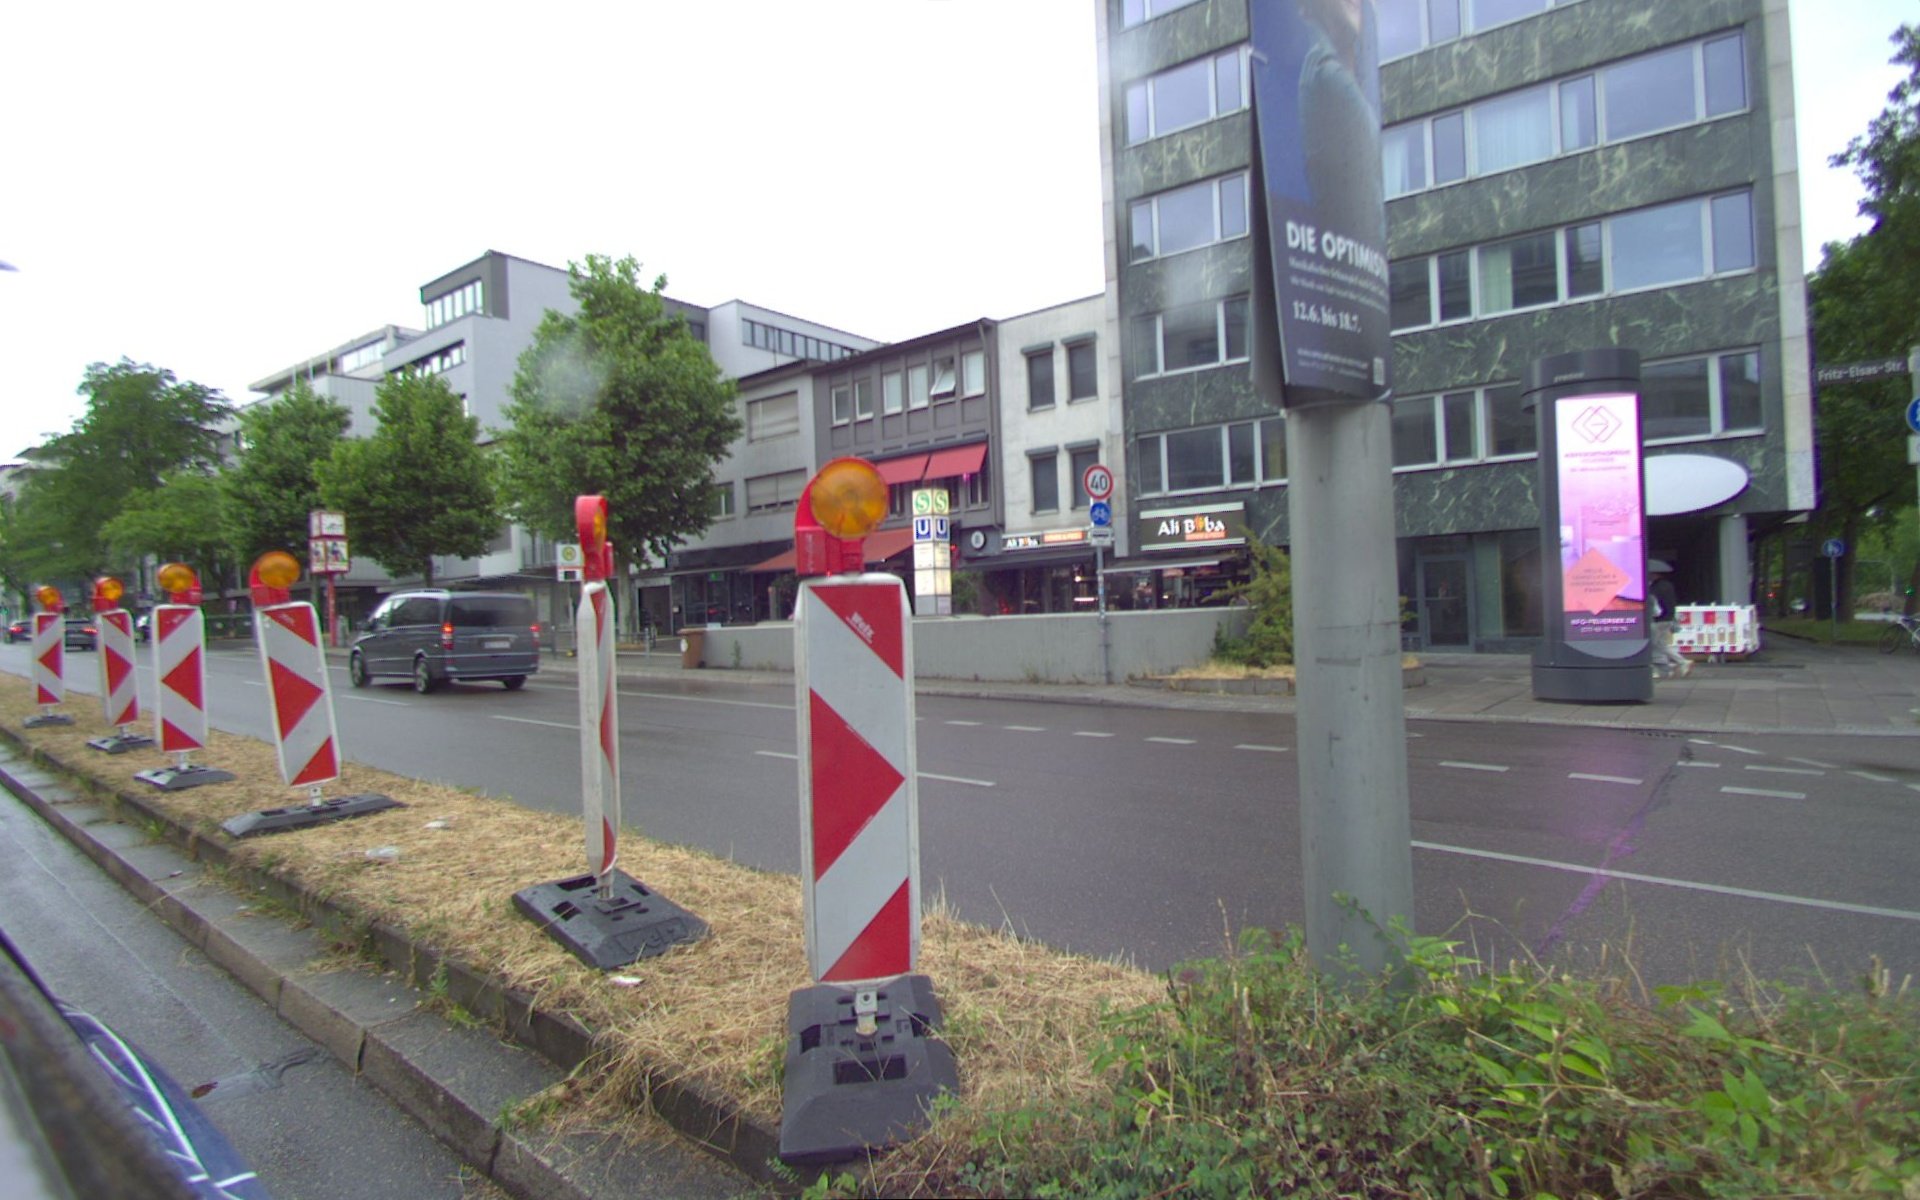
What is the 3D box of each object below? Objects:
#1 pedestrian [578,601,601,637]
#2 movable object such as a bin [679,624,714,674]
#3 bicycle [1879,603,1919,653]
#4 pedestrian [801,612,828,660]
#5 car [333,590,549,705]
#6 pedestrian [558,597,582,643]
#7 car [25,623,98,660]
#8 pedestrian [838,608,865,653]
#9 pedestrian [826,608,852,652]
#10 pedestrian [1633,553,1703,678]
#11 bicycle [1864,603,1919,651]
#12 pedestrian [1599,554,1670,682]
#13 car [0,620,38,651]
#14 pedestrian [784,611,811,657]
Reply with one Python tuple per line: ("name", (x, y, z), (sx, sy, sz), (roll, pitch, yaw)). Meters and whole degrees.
("pedestrian", (-16.886, 0.857, 46.090), (0.764, 1.577, 0.768), (-1, 0, -41))
("movable object such as a bin", (-6.108, 1.125, 23.451), (0.660, 1.109, 0.501), (-1, 0, 39))
("bicycle", (20.761, 0.595, 21.481), (1.780, 1.060, 0.579), (-1, -1, 37))
("pedestrian", (-4.832, 1.191, 33.584), (0.611, 1.540, 0.660), (-2, -1, 44))
("car", (-10.296, 0.796, 19.906), (4.960, 1.941, 1.974), (1, 1, 39))
("pedestrian", (-17.408, 0.897, 45.188), (0.764, 2.029, 0.768), (-1, 0, -41))
("car", (-39.804, 1.829, 44.792), (4.285, 1.522, 1.671), (-2, -1, 38))
("pedestrian", (-3.761, 1.037, 35.017), (0.611, 1.540, 0.660), (-2, -1, 44))
("pedestrian", (-4.243, 1.043, 35.590), (0.611, 1.540, 0.660), (-2, -1, 44))
("pedestrian", (11.777, 0.258, 16.845), (0.588, 2.029, 0.730), (0, -1, -29))
("bicycle", (21.256, 0.590, 22.389), (1.780, 1.060, 0.579), (-1, -1, 37))
("pedestrian", (10.940, 0.291, 16.434), (0.588, 2.029, 0.730), (0, -1, -29))
("car", (-57.256, 2.164, 61.231), (4.211, 1.442, 1.670), (-9, -6, 41))
("pedestrian", (-5.507, 1.147, 34.368), (0.611, 1.540, 0.660), (-2, -1, 44))
